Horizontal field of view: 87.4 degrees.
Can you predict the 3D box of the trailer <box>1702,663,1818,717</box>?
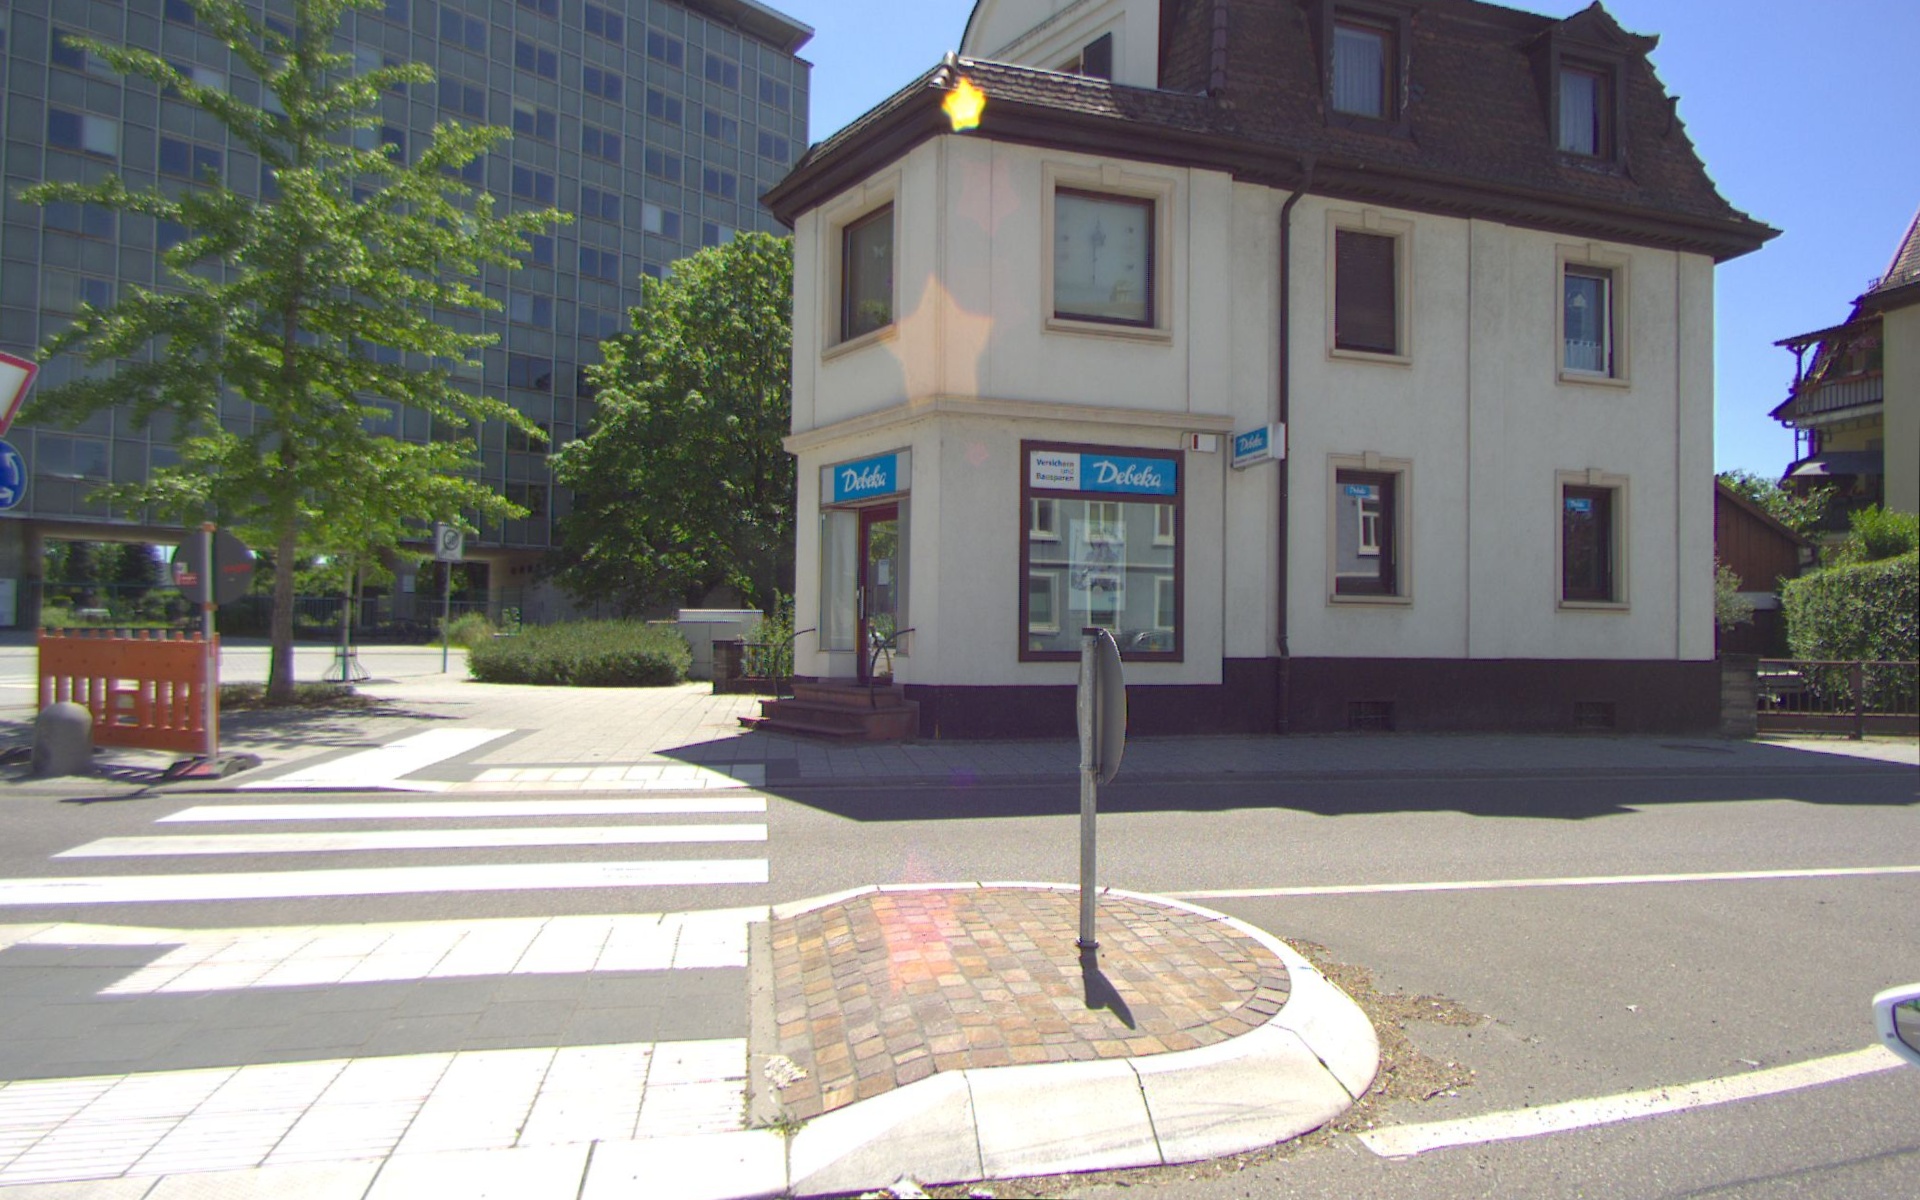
[{"bbox_3d":[15.736,1.740,19.869,1.334,0.872,2.813,1,-1,29],"label":"trailer"}]
